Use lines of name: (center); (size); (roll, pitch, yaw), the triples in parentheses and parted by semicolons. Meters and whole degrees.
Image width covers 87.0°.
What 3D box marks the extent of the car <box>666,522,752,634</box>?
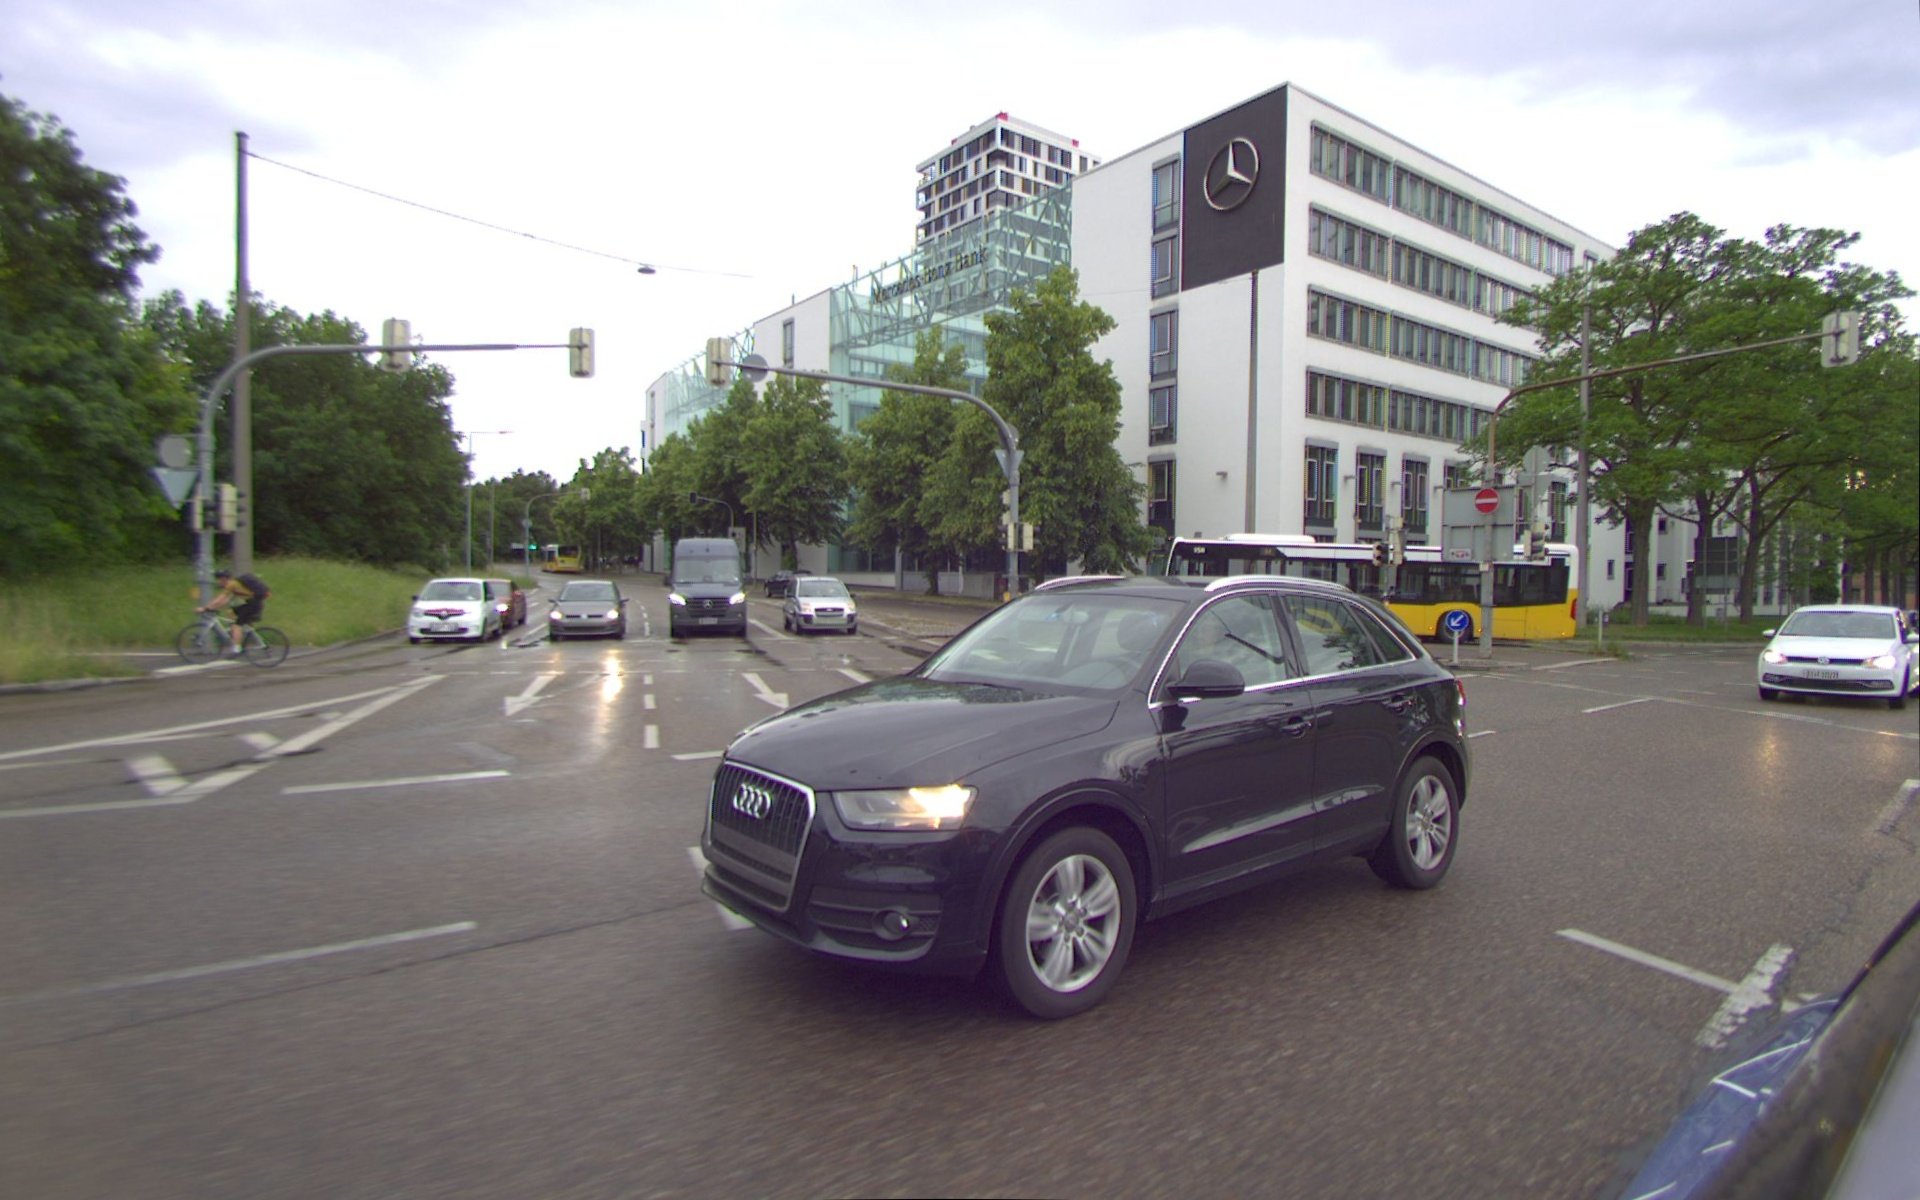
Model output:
car: (-6.988, -0.602, 28.238); (2.038, 2.775, 6.042); (-1, 1, -14)

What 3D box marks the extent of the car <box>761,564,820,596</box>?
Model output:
car: (-8.997, -1.085, 53.535); (1.833, 1.516, 4.159); (-1, 4, -28)

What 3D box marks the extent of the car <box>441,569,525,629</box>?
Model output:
car: (-14.353, -0.064, 30.661); (1.832, 1.695, 4.575); (0, 1, -19)

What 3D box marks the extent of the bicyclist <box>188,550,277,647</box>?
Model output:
bicyclist: (-12.489, -0.031, 17.401); (1.001, 1.604, 0.813); (-1, 0, -13)

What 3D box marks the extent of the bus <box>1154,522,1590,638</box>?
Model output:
bus: (12.092, -0.614, 30.884); (11.942, 3.192, 2.729); (1, -1, 8)

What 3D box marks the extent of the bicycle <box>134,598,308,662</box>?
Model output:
bicycle: (-12.619, 0.491, 17.358); (2.280, 1.035, 0.813); (0, 2, -13)

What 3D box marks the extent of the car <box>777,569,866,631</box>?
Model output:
car: (-3.921, -0.027, 28.180); (1.832, 1.588, 4.071); (1, 0, -17)

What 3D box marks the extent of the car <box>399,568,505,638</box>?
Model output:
car: (-12.554, 0.032, 25.236); (1.832, 1.583, 4.153); (0, 1, -19)

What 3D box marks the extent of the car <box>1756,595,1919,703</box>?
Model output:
car: (13.642, 0.655, 15.403); (3.745, 1.450, 1.743); (0, -1, -41)

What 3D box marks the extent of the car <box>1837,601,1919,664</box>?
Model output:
car: (22.818, 0.726, 24.437); (4.256, 1.371, 1.876); (-1, 0, -41)

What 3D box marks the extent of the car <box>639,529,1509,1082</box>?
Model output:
car: (0.755, 0.587, 4.937); (4.037, 1.615, 1.890); (0, 1, -37)

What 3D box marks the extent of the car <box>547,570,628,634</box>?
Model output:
car: (-9.666, 0.007, 26.521); (1.693, 1.539, 4.391); (-1, 1, -17)
